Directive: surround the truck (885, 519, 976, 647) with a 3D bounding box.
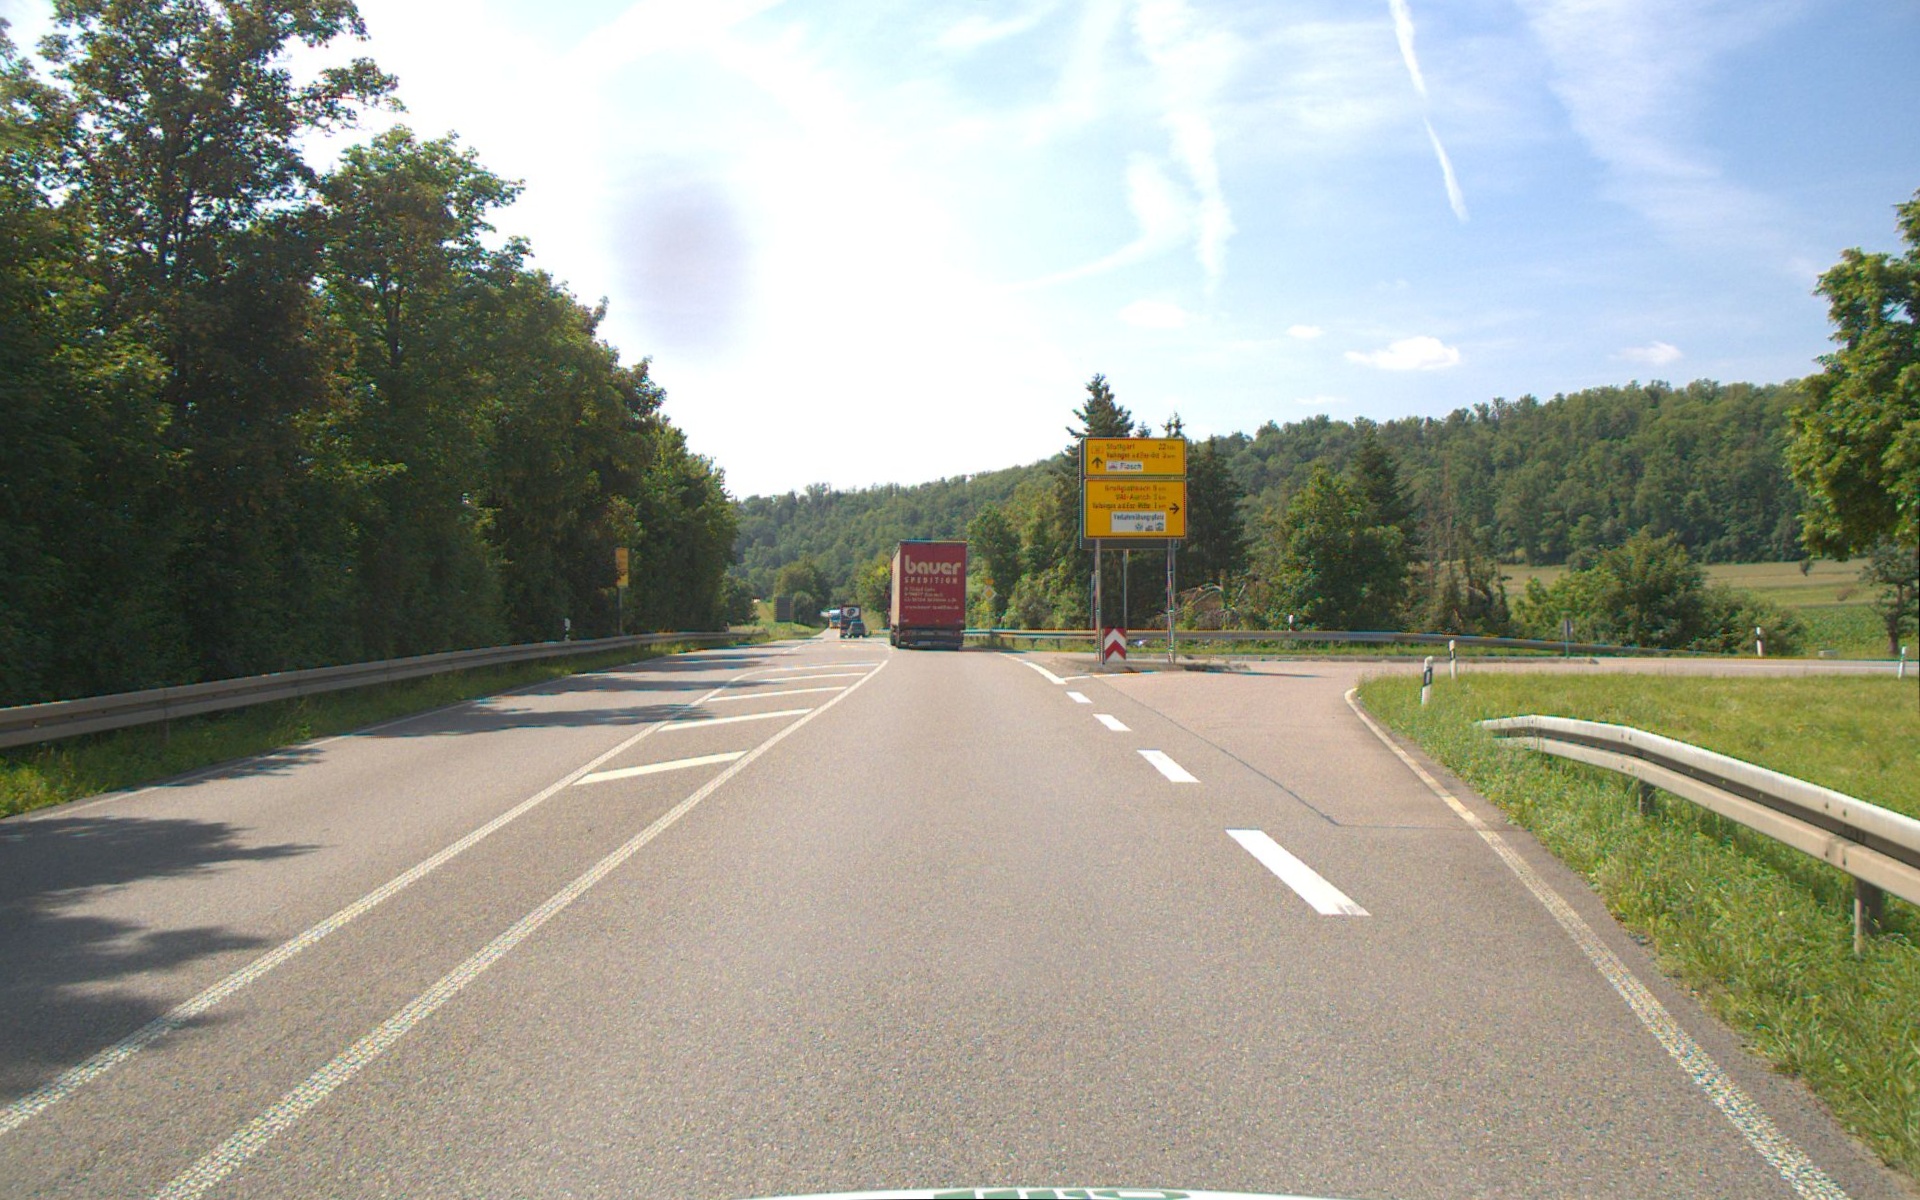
[{"bbox_3d":[-1.393,-0.568,67.435,3.109,4.706,13.532,0,0,-4],"label":"truck"}]

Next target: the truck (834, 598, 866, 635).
[{"bbox_3d":[-14.292,2.189,213.934,3.829,4.446,13.277,2,-2,-5],"label":"truck"}]

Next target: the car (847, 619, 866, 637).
[{"bbox_3d":[-11.467,3.080,182.754,1.955,1.842,3.995,3,-2,-5],"label":"car"}]
